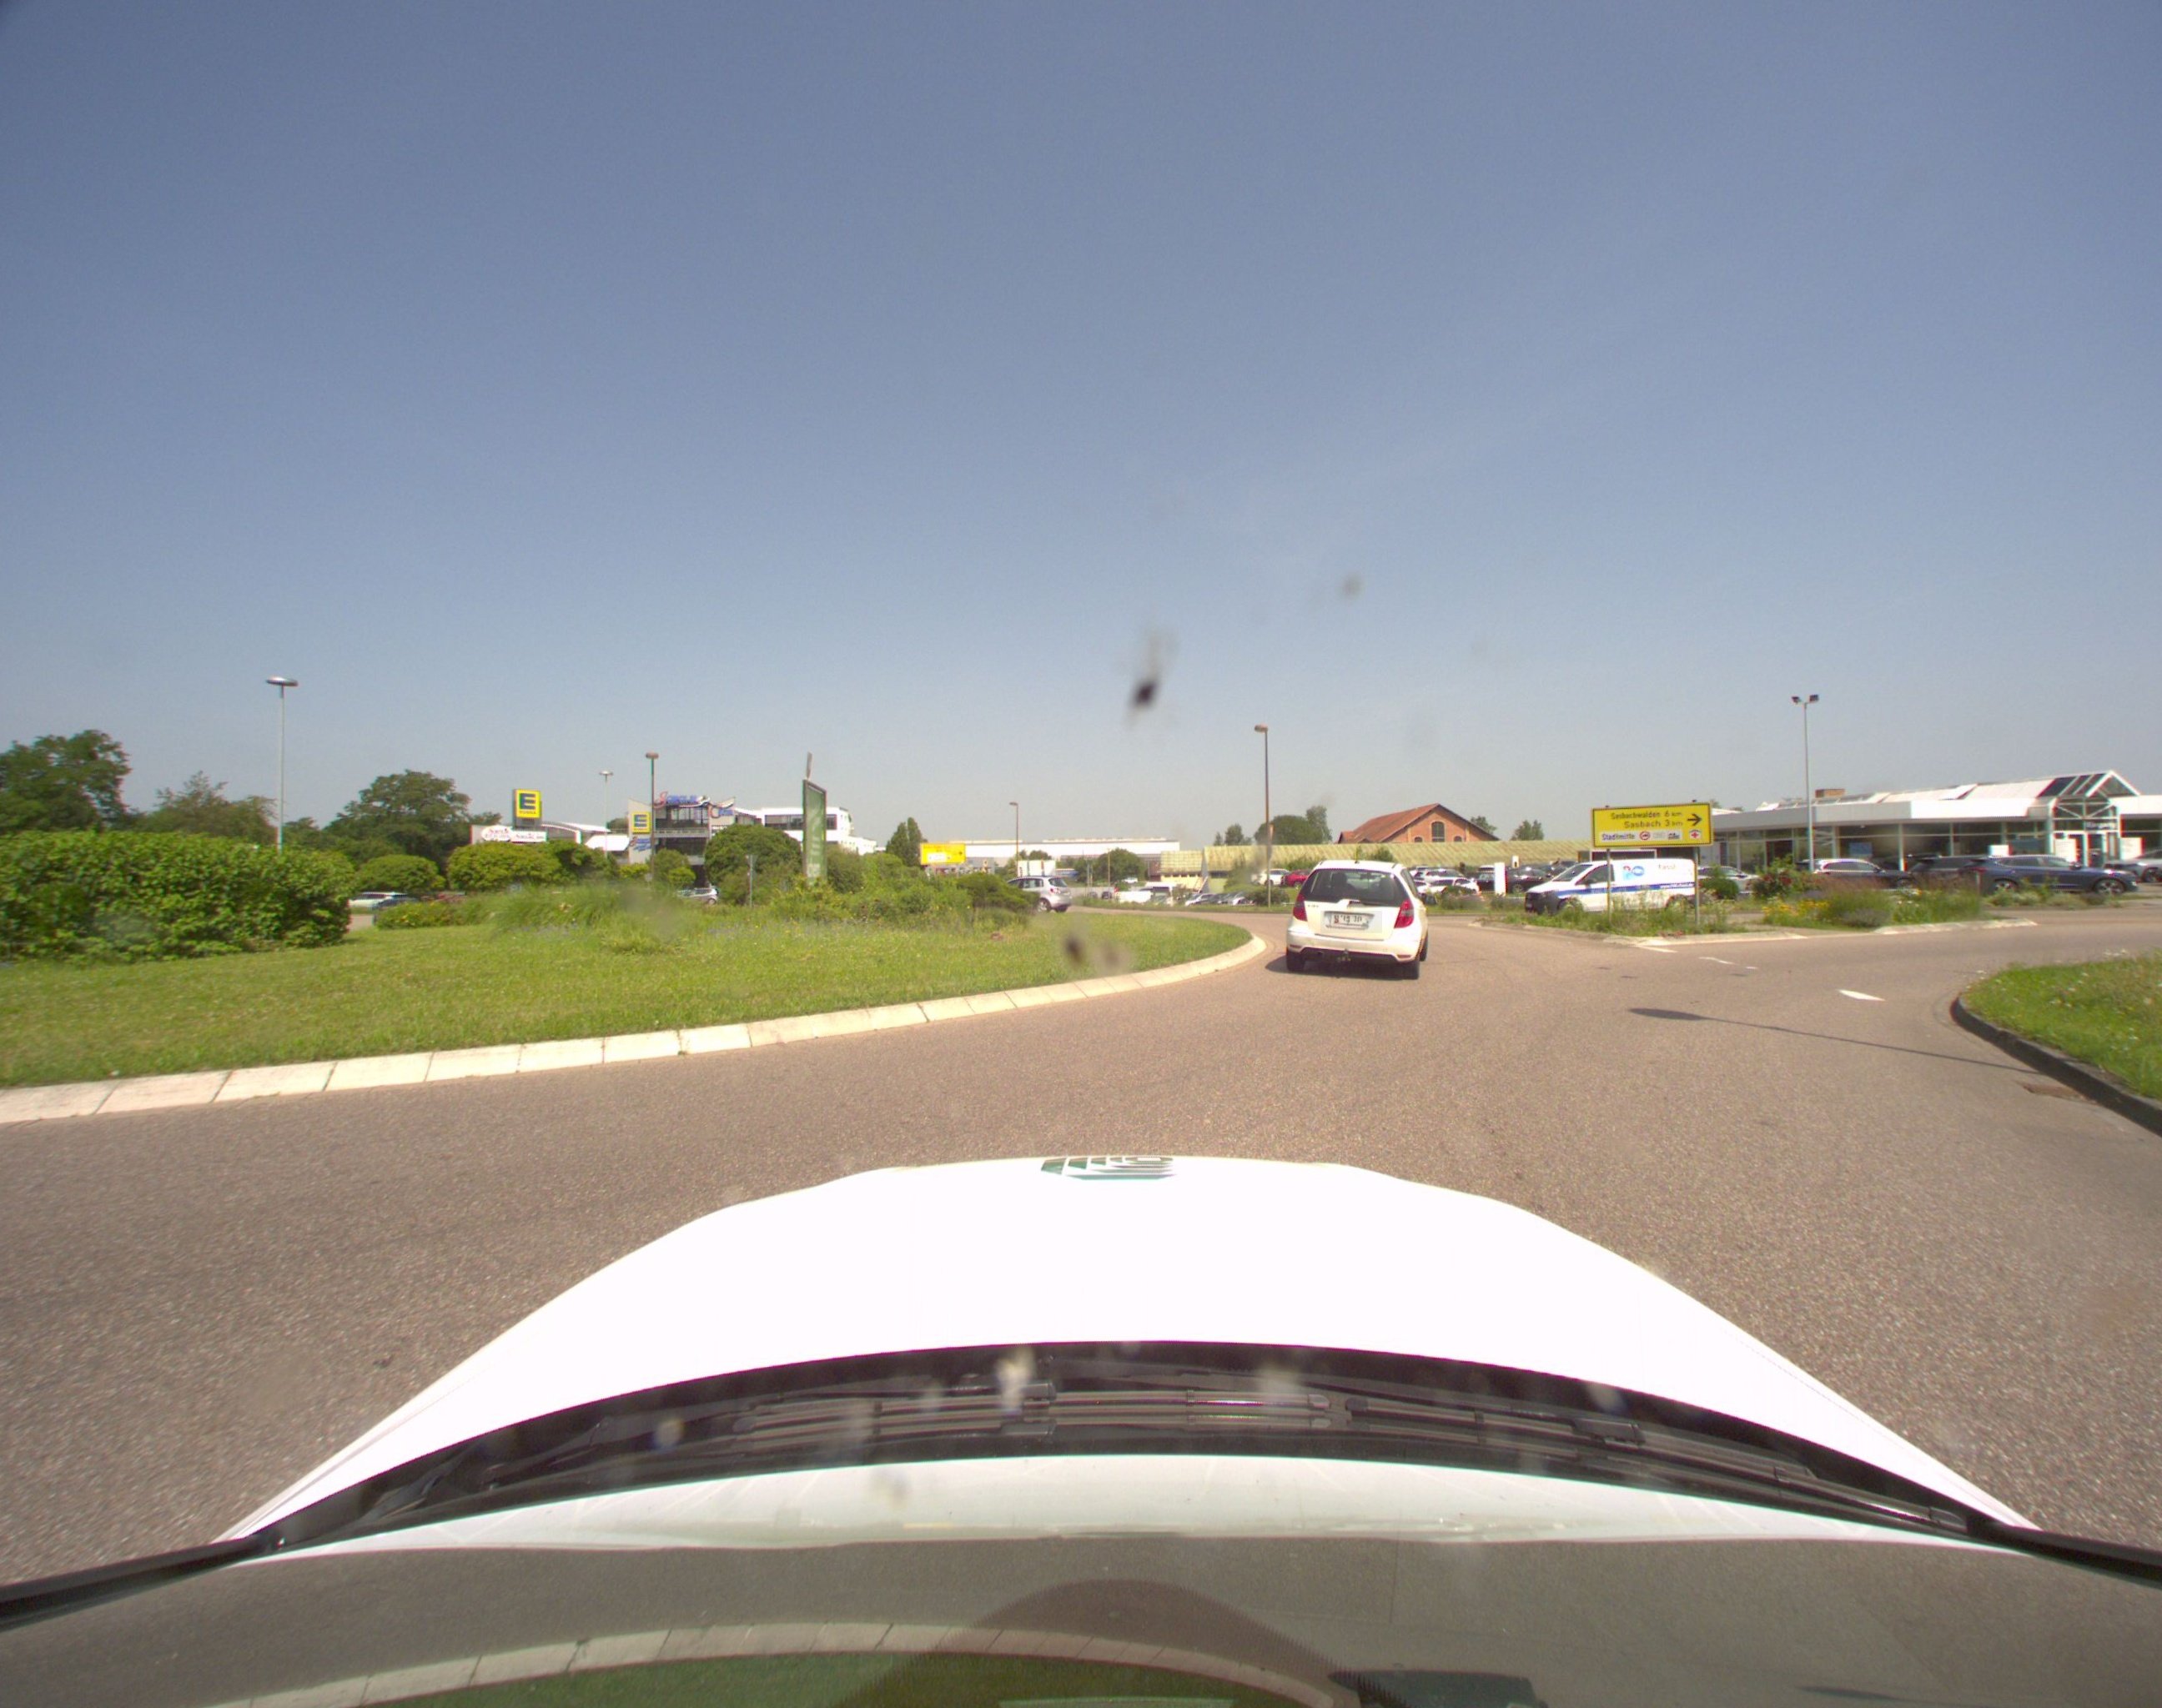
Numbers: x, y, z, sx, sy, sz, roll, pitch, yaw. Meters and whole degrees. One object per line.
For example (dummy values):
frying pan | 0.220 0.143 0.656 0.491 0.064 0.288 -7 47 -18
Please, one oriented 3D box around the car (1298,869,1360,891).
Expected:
car | 20.100 2.137 66.070 4.434 1.635 1.951 -1 -2 3

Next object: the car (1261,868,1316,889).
car | 18.184 2.157 71.577 4.434 1.747 1.840 -1 -2 3

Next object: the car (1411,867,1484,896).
car | 24.679 1.861 54.906 3.979 1.750 1.951 -3 -2 3

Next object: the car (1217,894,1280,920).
car | 12.980 4.151 63.208 4.257 1.749 1.989 -2 -4 -16

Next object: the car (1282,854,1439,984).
car | 4.351 0.824 12.291 1.765 1.603 3.916 0 0 26

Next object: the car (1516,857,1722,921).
car | 17.105 1.116 26.135 5.182 1.938 1.865 0 -3 9

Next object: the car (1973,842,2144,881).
car | 41.869 0.336 35.056 4.319 1.513 1.922 -2 -2 36

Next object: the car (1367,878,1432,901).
car | 22.385 2.488 57.368 3.972 1.526 1.954 -2 -2 9

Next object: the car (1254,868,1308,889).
car | 18.117 2.249 73.898 4.434 1.747 1.840 -1 -2 3

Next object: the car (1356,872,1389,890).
car | 28.080 2.583 78.568 1.907 1.596 4.310 -2 -2 6

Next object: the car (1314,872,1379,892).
car | 20.655 2.180 63.541 4.434 1.500 1.951 -1 -2 3

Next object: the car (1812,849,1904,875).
car | 51.295 0.564 53.823 4.004 1.586 1.914 -2 -2 9

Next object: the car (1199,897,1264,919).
car | 12.167 4.392 65.898 4.776 1.508 1.989 -2 -4 -16

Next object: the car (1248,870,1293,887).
car | 17.691 2.312 76.247 3.858 1.533 1.769 -1 -2 3

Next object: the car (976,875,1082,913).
car | -2.188 1.670 34.358 4.040 1.530 1.793 -1 -3 18

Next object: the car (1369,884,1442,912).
car | 20.298 2.735 50.921 4.592 1.571 1.751 -1 -3 -31

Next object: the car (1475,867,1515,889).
car | 31.644 1.838 62.190 1.637 1.586 4.294 -3 -2 42

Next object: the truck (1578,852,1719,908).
truck | 28.860 1.318 41.590 5.576 2.665 1.954 -2 -2 9

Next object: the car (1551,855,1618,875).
car | 42.965 0.951 69.612 4.428 1.522 1.954 -2 -2 8

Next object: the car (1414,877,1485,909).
car | 22.152 2.305 48.871 4.687 1.570 1.748 -3 -1 -36

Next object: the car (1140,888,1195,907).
car | 7.943 4.019 74.899 4.495 1.640 2.133 1 -4 -20

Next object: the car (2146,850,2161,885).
car | 53.142 0.631 38.303 3.667 1.655 1.584 0 -3 6

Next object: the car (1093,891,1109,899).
car | 3.725 7.484 148.238 1.978 1.398 4.015 -1 -3 15

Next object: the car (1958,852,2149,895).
car | 37.015 0.768 31.197 4.319 1.513 1.922 -2 -2 36

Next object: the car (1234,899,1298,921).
car | 13.736 4.168 60.480 4.257 1.466 1.863 -2 -4 -16

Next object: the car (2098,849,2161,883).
car | 54.173 0.597 40.955 3.667 1.655 1.584 0 -3 6

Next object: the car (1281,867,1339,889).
car | 19.342 2.016 68.933 4.434 1.747 1.951 -1 -2 3

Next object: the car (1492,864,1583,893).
car | 27.909 1.518 49.908 4.393 1.500 1.951 -4 -3 3

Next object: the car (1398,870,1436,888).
car | 32.277 2.384 78.319 2.177 1.596 4.310 -2 -2 6

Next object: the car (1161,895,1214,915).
car | 9.188 4.356 70.148 4.000 1.552 1.986 -1 -5 -20

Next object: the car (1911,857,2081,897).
car | 37.593 0.959 33.650 4.319 1.513 1.922 -2 -2 36
